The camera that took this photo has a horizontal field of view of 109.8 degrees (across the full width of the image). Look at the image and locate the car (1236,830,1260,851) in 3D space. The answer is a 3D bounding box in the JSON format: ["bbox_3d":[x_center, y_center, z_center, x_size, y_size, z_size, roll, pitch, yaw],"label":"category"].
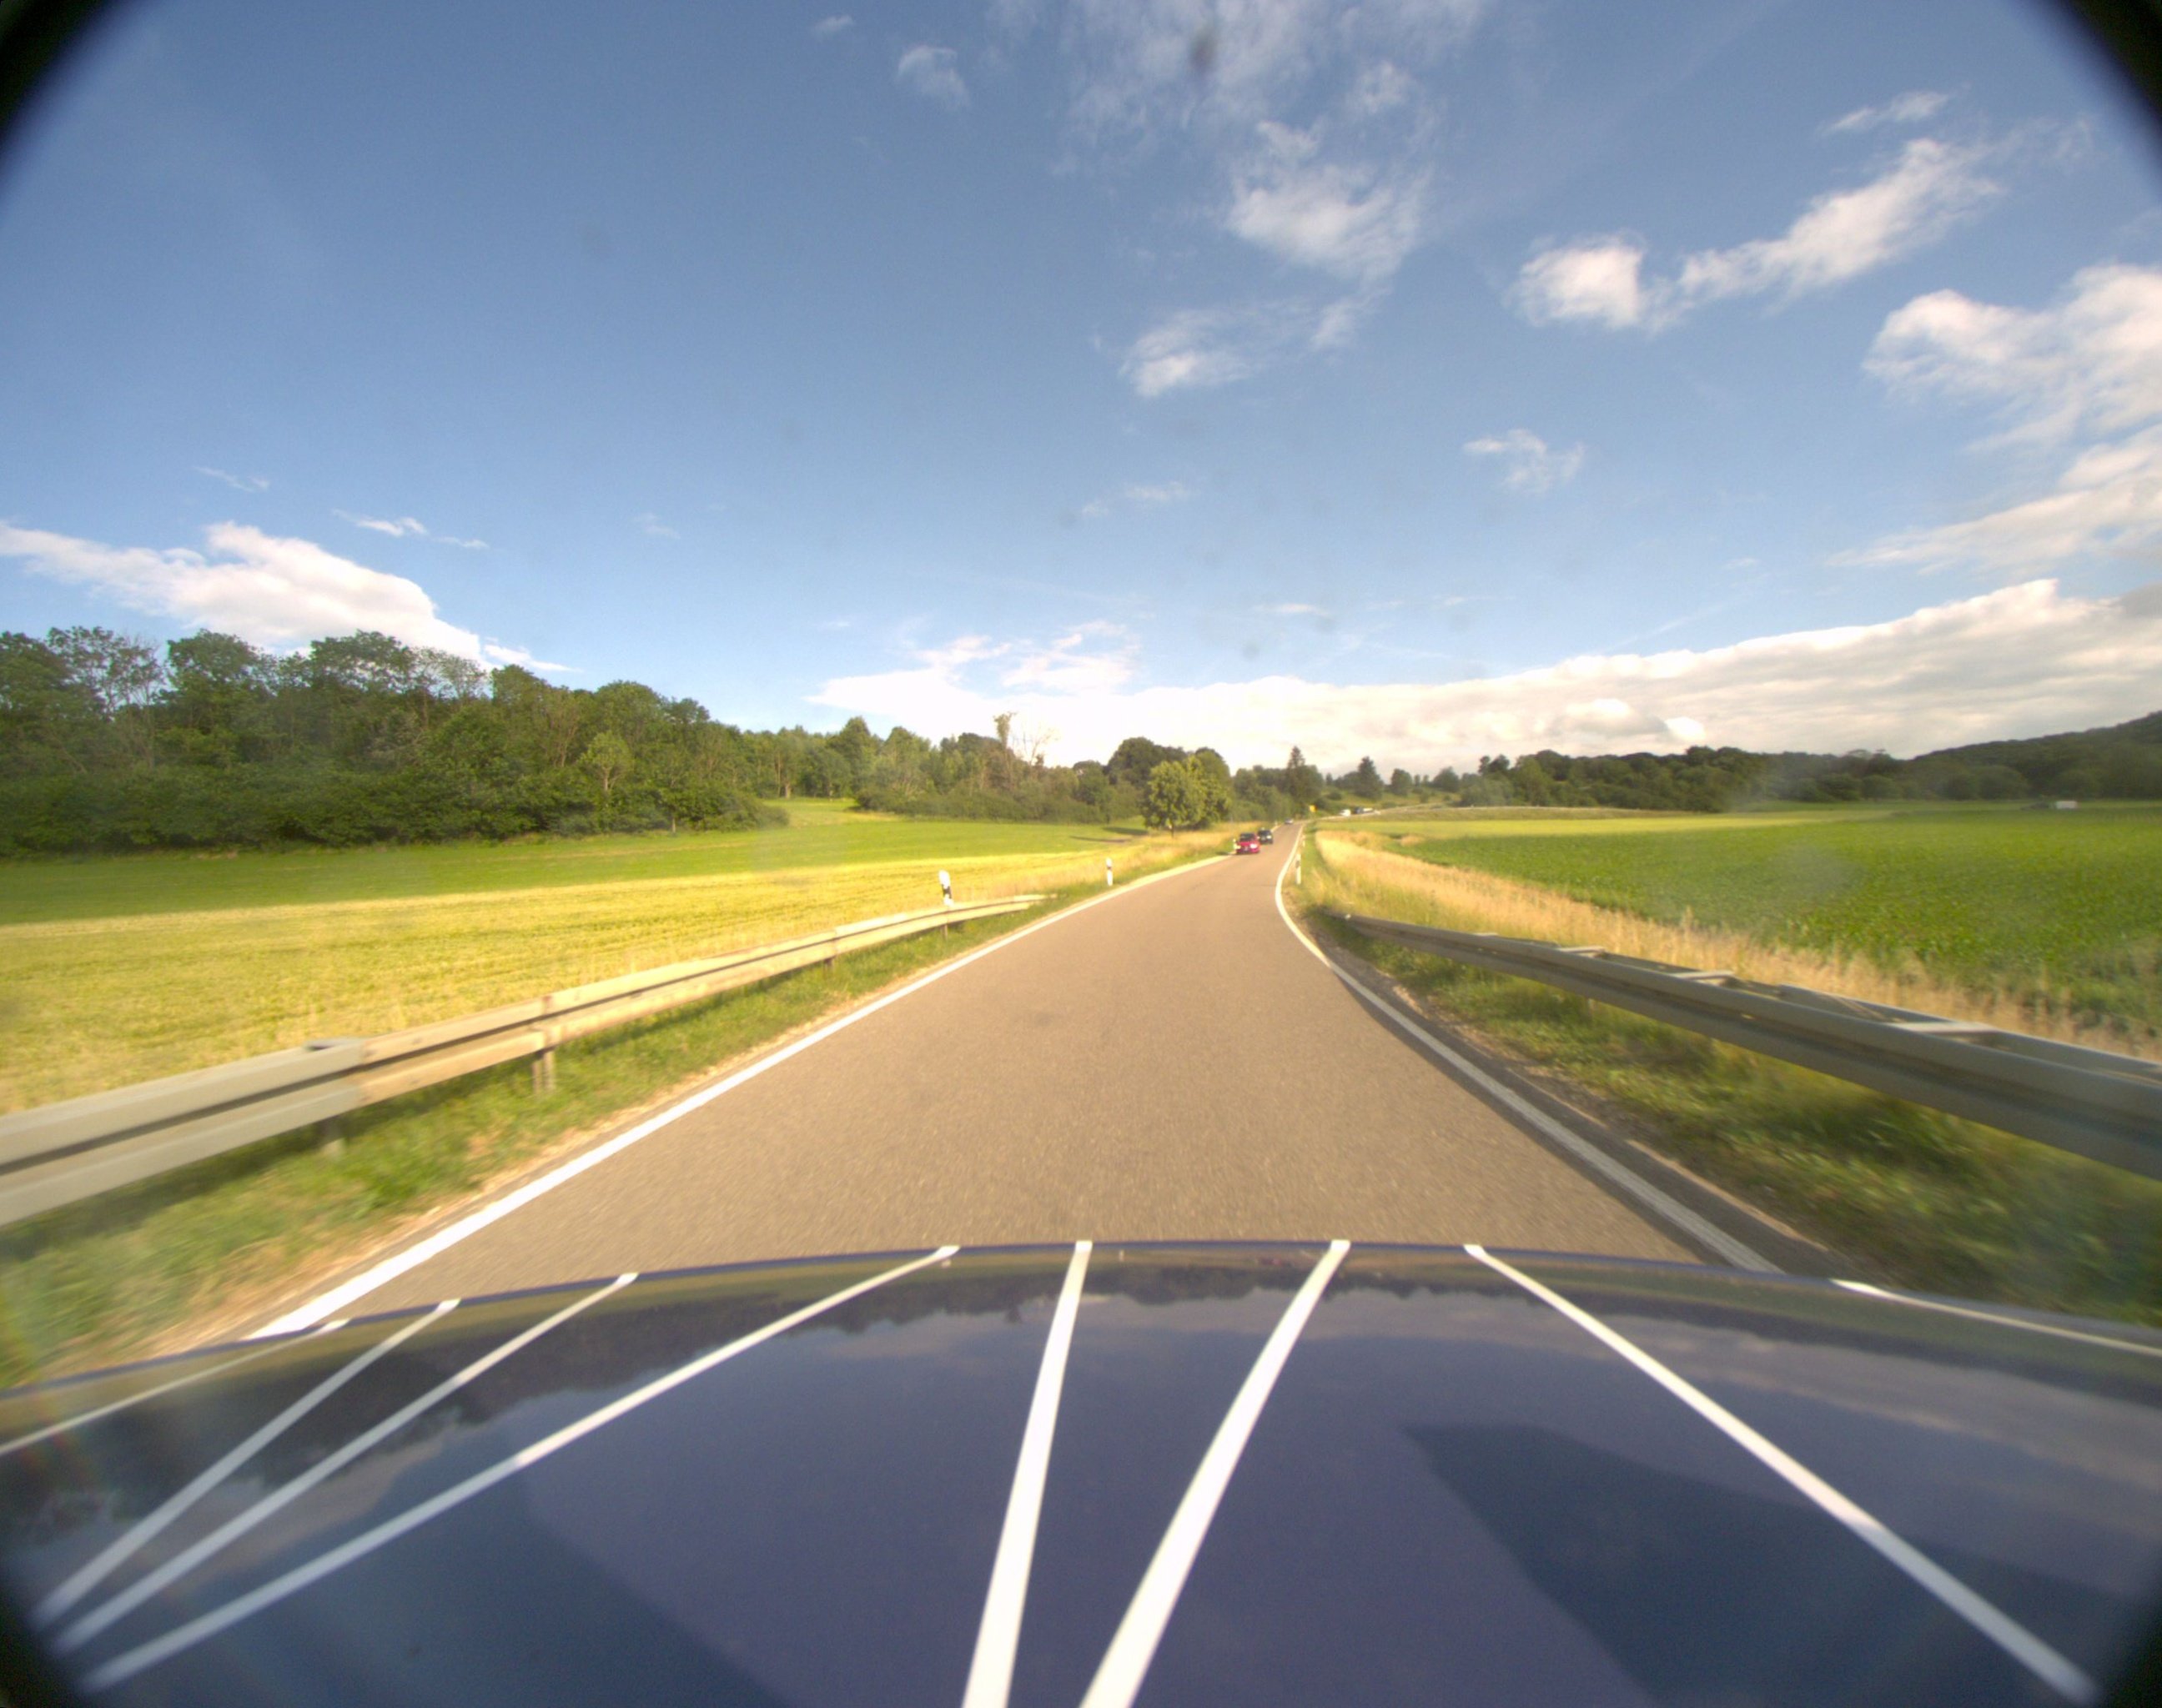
[{"bbox_3d":[14.215,-1.167,64.466,1.819,1.646,4.003,-1,2,15],"label":"car"}]

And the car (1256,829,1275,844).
[{"bbox_3d":[20.900,-1.964,85.977,1.819,1.602,4.004,-1,2,16],"label":"car"}]
